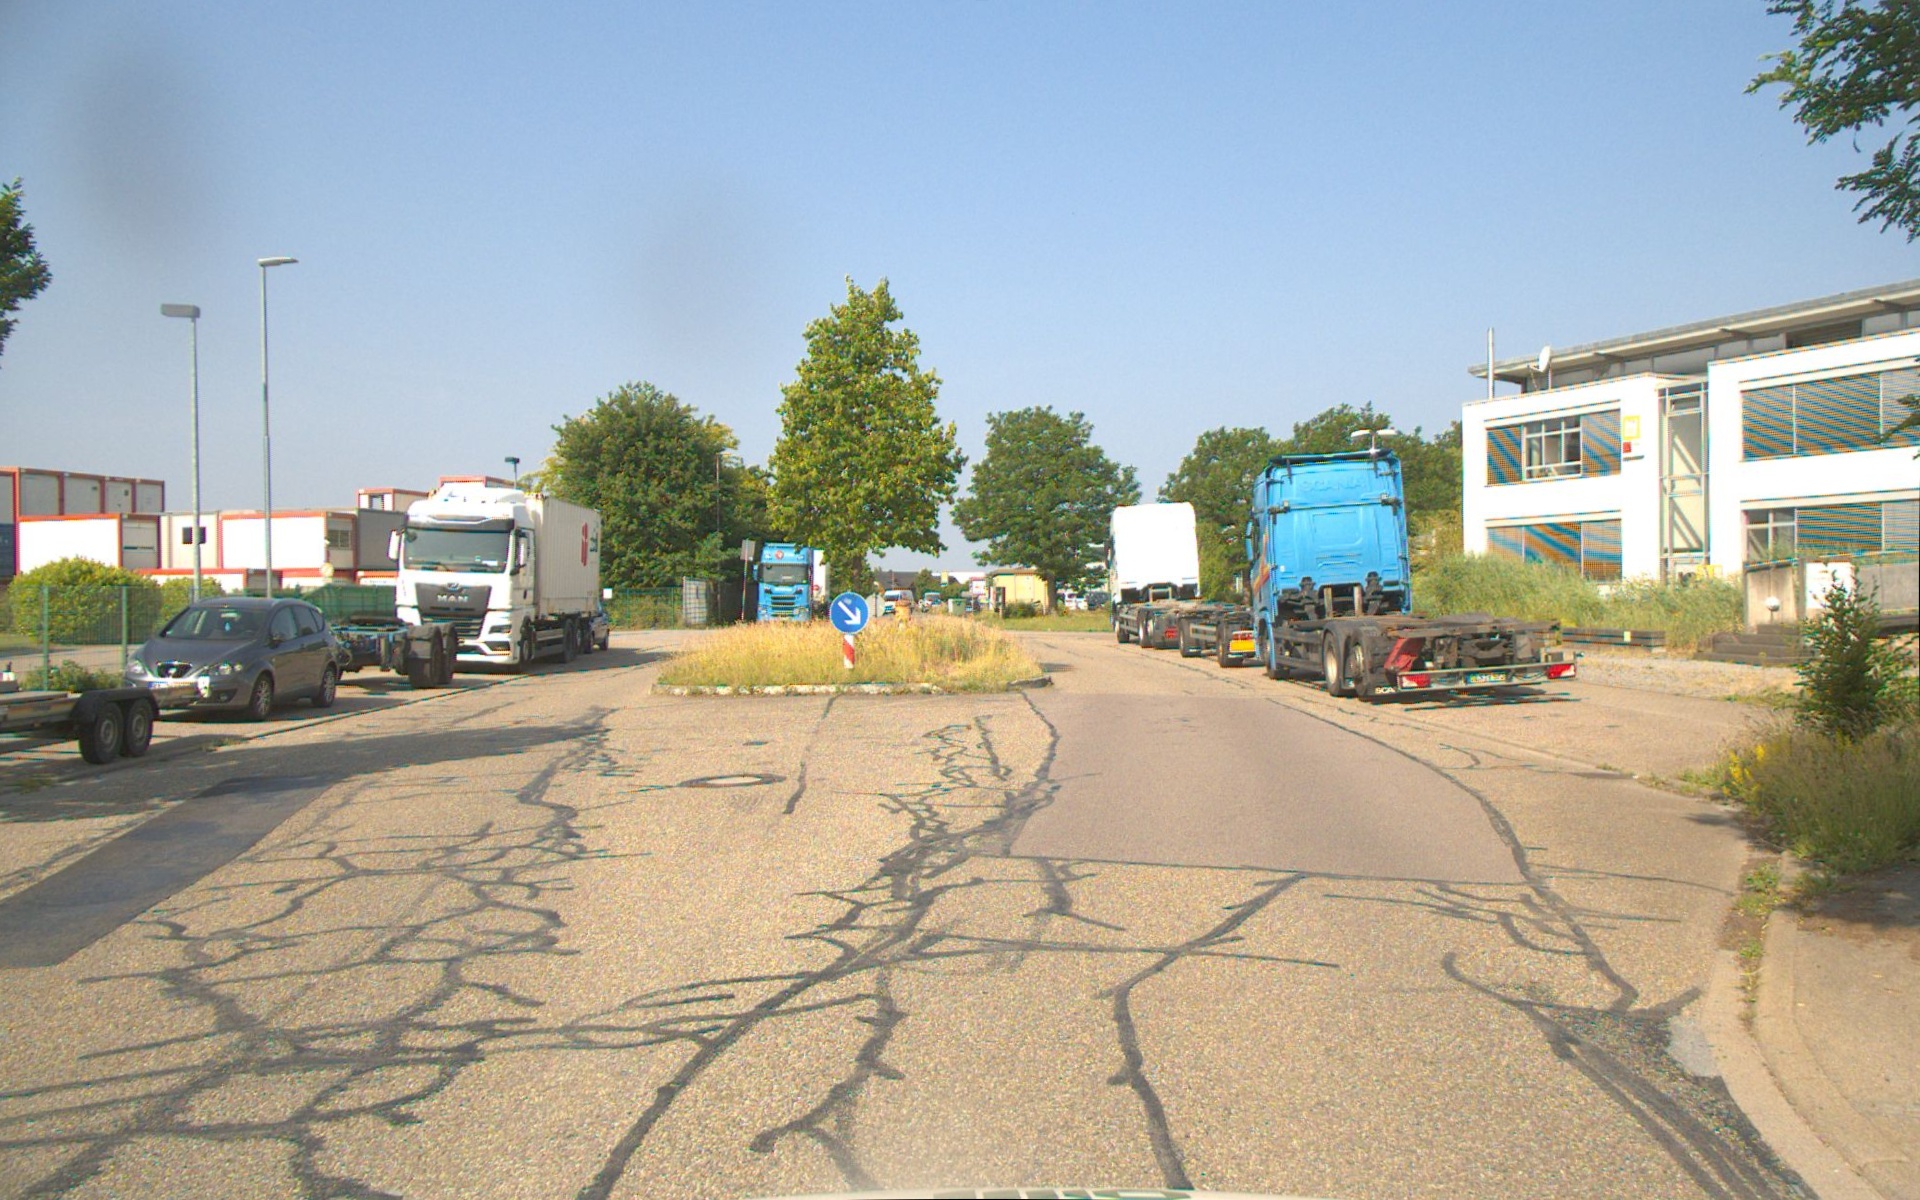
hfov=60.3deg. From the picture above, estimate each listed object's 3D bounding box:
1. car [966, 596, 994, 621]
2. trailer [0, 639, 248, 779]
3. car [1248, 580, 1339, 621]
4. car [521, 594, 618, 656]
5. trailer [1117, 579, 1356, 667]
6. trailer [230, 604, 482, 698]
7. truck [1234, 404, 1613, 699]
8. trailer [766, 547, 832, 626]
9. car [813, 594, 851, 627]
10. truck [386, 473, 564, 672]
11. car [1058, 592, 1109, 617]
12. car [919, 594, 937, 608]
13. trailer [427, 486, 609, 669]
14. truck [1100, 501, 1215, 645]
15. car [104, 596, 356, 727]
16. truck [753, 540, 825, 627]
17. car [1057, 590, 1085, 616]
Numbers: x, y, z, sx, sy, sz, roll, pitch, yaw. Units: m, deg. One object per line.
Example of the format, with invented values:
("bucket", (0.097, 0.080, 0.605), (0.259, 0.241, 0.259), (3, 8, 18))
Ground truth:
("car", (1.456, 0.650, 121.506), (1.756, 1.780, 3.997), (1, -1, -3))
("trailer", (-9.579, 1.000, 16.305), (2.496, 0.941, 6.705), (3, 0, -3))
("car", (15.672, 0.049, 77.698), (3.950, 1.798, 1.977), (2, -1, -33))
("car", (-11.051, 0.674, 47.101), (1.954, 1.669, 4.584), (1, 0, -4))
("trailer", (6.271, 0.470, 41.032), (2.691, 1.601, 16.165), (-3, 0, -2))
("trailer", (-10.461, 0.831, 29.174), (2.626, 1.479, 5.076), (0, 0, -1))
("truck", (6.772, -0.562, 26.162), (2.830, 3.596, 9.751), (-4, -1, -1))
("trailer", (-8.528, -0.584, 89.052), (2.774, 3.910, 12.029), (1, -1, -2))
("car", (-8.252, 0.655, 106.480), (1.958, 2.049, 3.988), (0, 0, -12))
("truck", (-10.374, -0.512, 35.794), (2.654, 3.991, 4.294), (1, -1, -3))
("car", (7.123, 0.257, 95.773), (1.642, 1.353, 3.644), (2, -1, -18))
("car", (-4.260, 0.155, 221.925), (1.739, 1.847, 3.988), (1, -1, -12))
("trailer", (-10.585, -0.422, 40.408), (2.645, 3.991, 7.570), (1, -1, -3))
("truck", (5.910, -0.791, 50.088), (2.691, 4.051, 3.998), (-3, 0, -2))
("car", (-10.001, 0.776, 23.035), (1.661, 1.588, 4.334), (2, 0, -2))
("truck", (-8.221, -0.685, 80.459), (2.768, 3.893, 9.667), (1, -1, -2))
("car", (7.585, 0.227, 113.156), (1.682, 1.646, 4.000), (1, -1, 1))
